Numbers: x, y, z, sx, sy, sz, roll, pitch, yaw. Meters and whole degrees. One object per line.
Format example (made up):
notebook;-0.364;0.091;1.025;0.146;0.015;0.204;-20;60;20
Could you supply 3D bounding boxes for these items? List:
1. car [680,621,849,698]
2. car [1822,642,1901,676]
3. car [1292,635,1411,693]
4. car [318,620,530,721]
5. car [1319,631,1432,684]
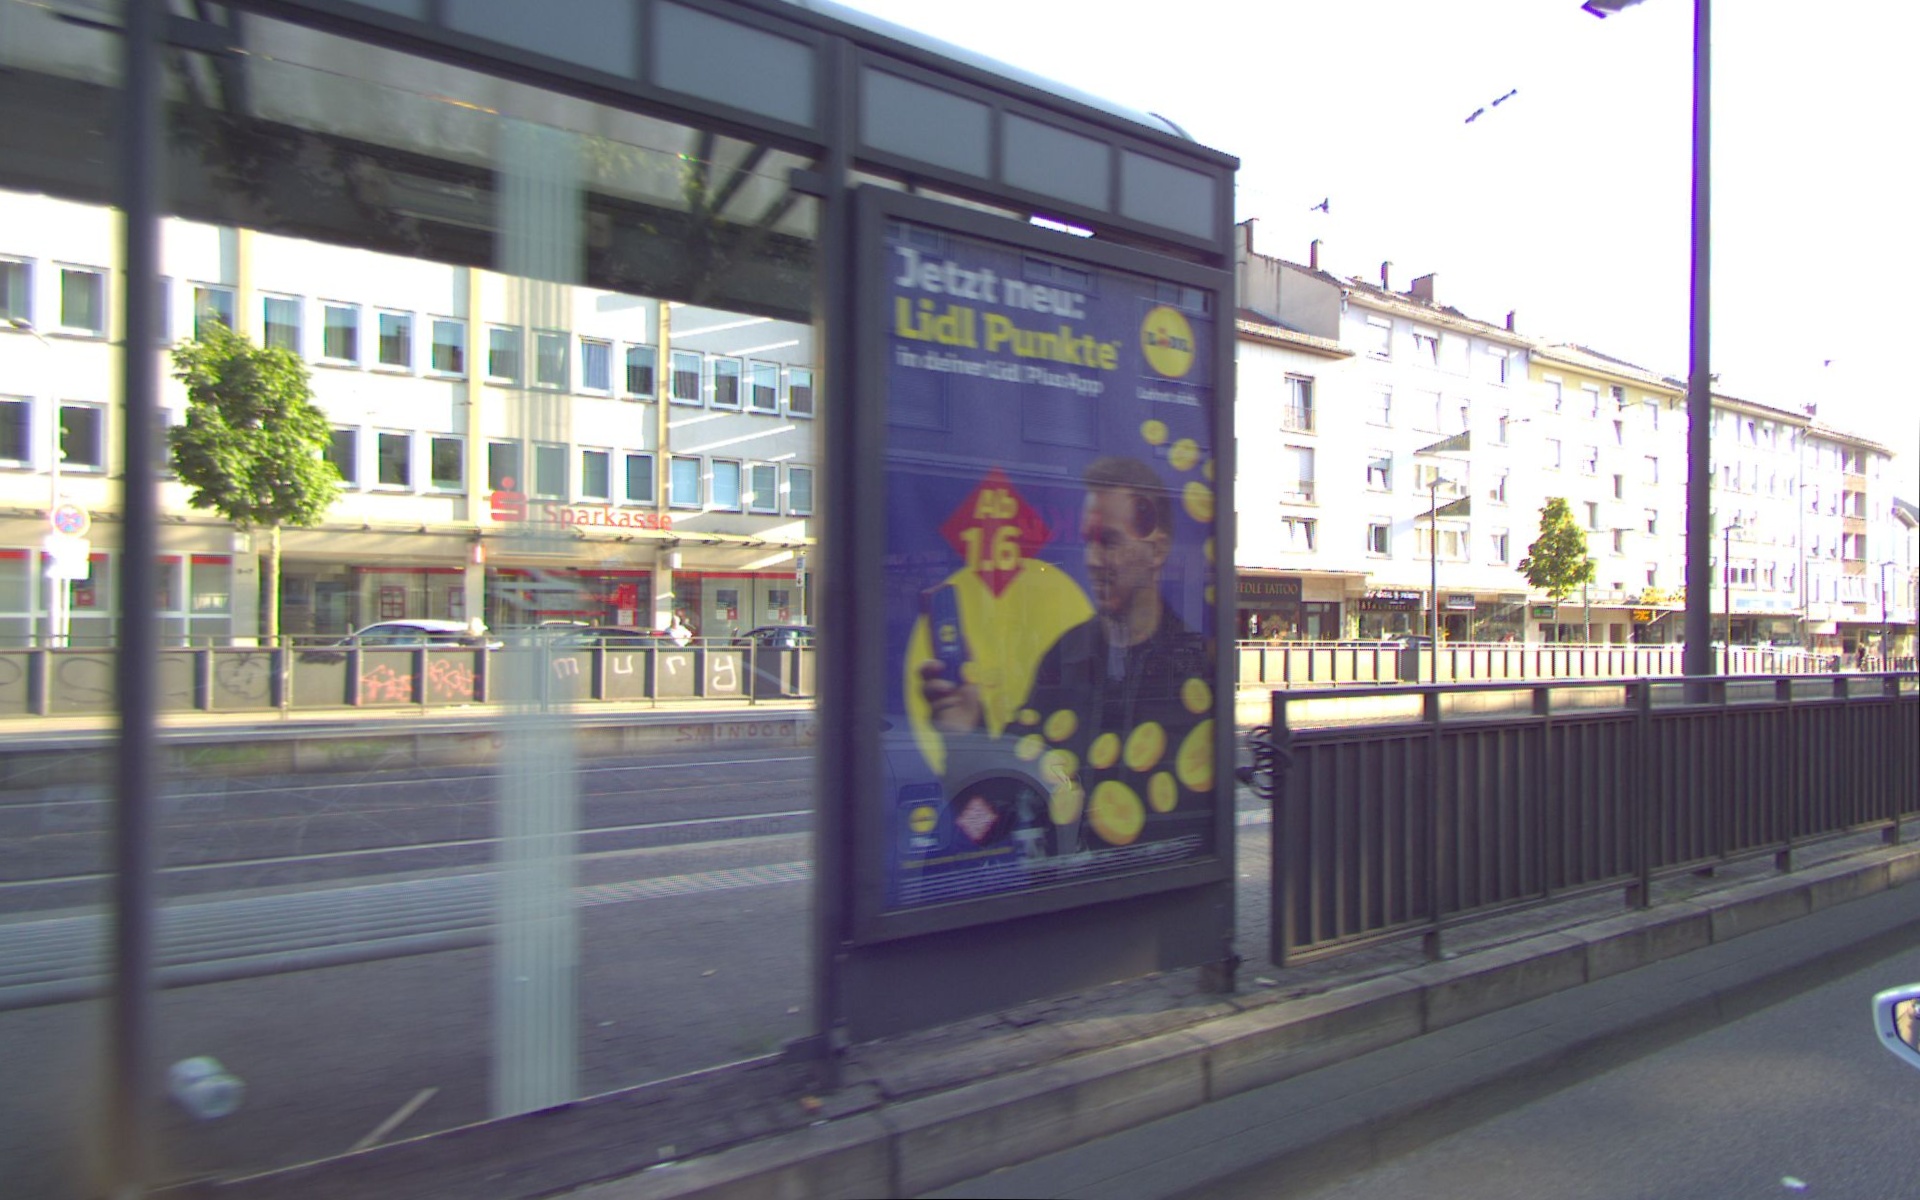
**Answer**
car;-4.535;1.353;23.485;3.440;1.701;1.772;0;-2;15
car;47.772;3.100;53.223;3.953;1.672;1.984;2;-2;-30
car;13.083;2.140;33.779;3.441;1.701;1.772;-3;-2;15
car;-10.265;1.282;19.268;3.442;1.702;1.770;1;-1;22
car;14.897;2.065;36.185;3.441;1.701;1.772;-3;-2;15
